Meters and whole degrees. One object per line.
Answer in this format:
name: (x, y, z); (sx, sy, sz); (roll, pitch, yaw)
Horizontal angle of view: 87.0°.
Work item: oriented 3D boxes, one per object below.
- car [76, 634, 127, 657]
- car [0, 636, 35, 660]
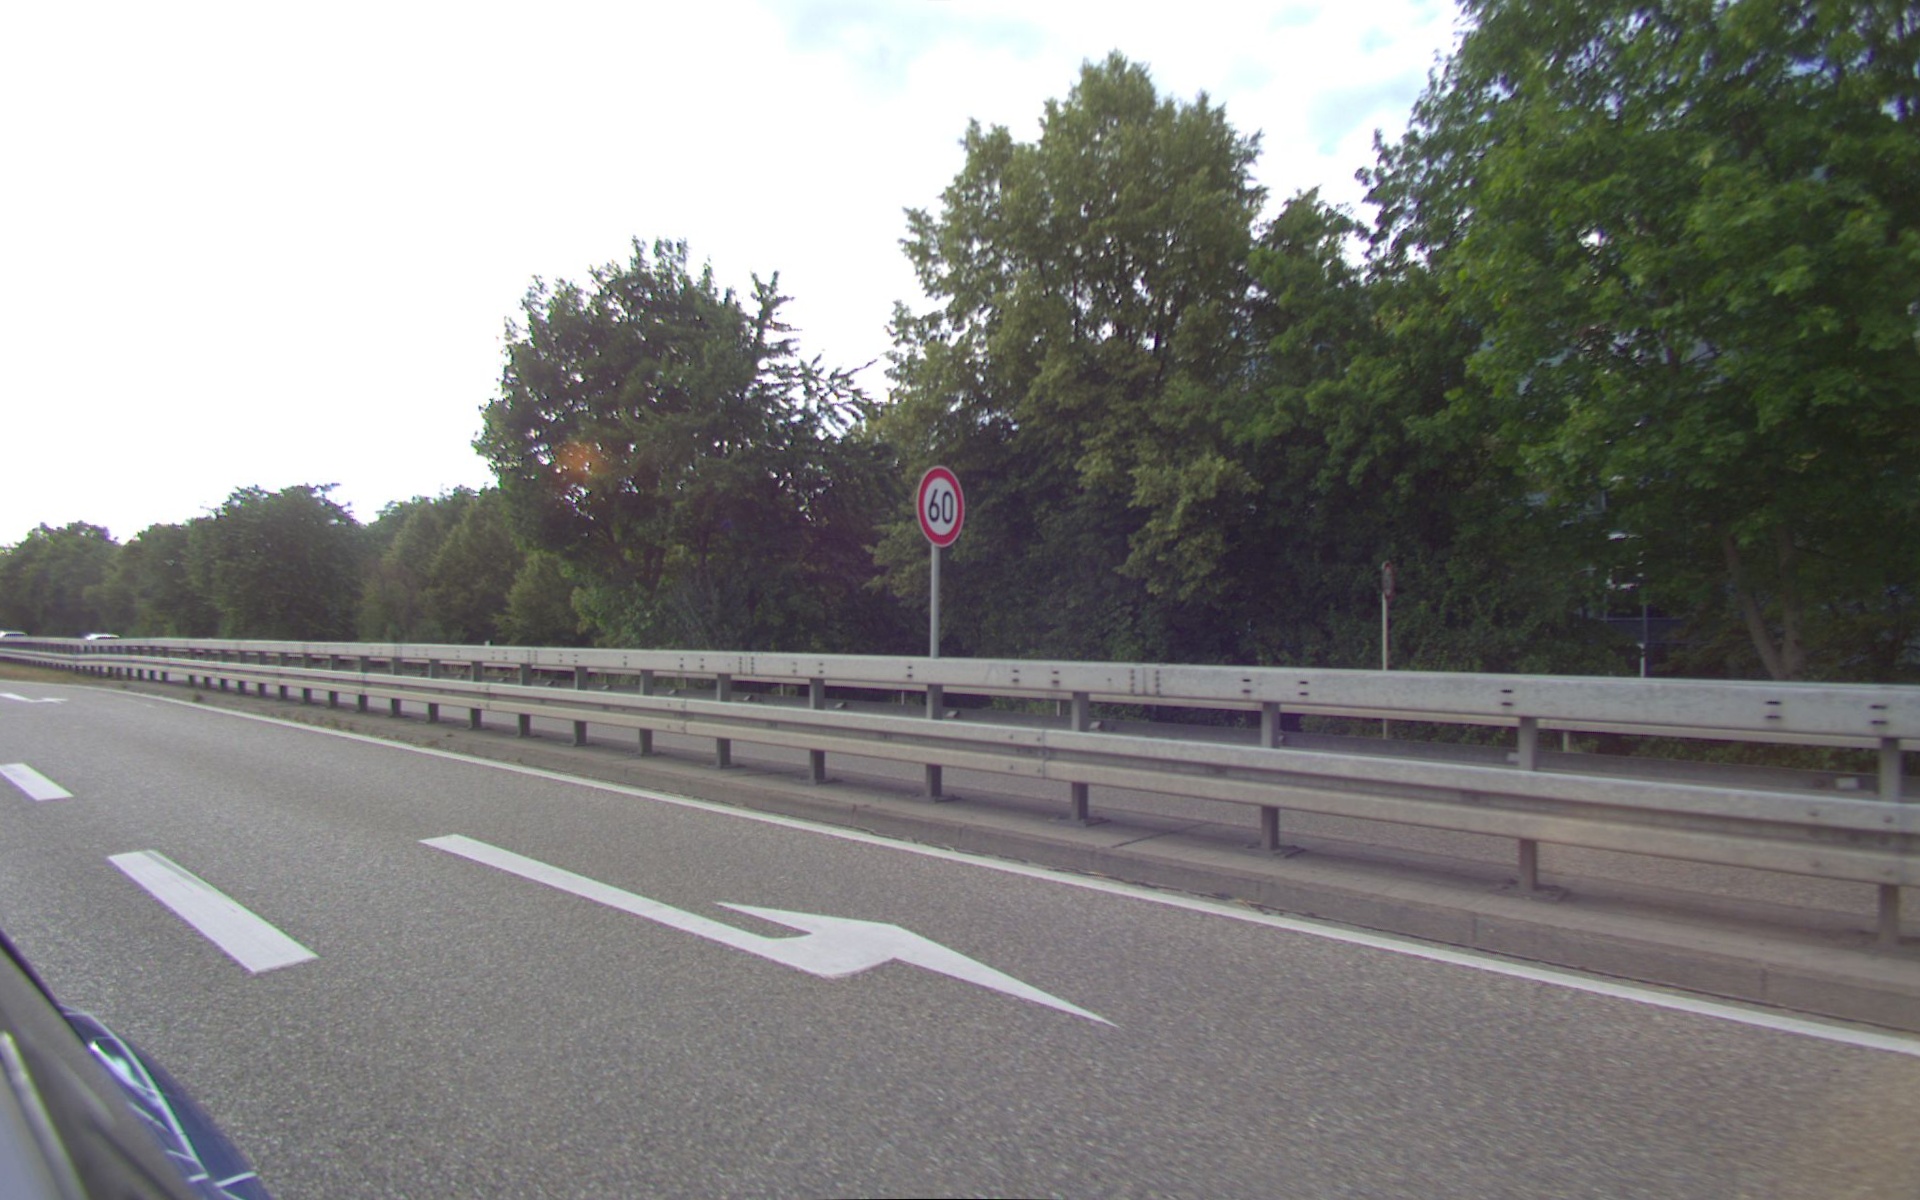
car: (-54.085, 2.875, 63.720); (4.456, 1.424, 1.741); (-2, -3, 40)
car: (-60.546, 3.053, 64.610); (3.709, 1.479, 1.751); (-2, -3, 40)
